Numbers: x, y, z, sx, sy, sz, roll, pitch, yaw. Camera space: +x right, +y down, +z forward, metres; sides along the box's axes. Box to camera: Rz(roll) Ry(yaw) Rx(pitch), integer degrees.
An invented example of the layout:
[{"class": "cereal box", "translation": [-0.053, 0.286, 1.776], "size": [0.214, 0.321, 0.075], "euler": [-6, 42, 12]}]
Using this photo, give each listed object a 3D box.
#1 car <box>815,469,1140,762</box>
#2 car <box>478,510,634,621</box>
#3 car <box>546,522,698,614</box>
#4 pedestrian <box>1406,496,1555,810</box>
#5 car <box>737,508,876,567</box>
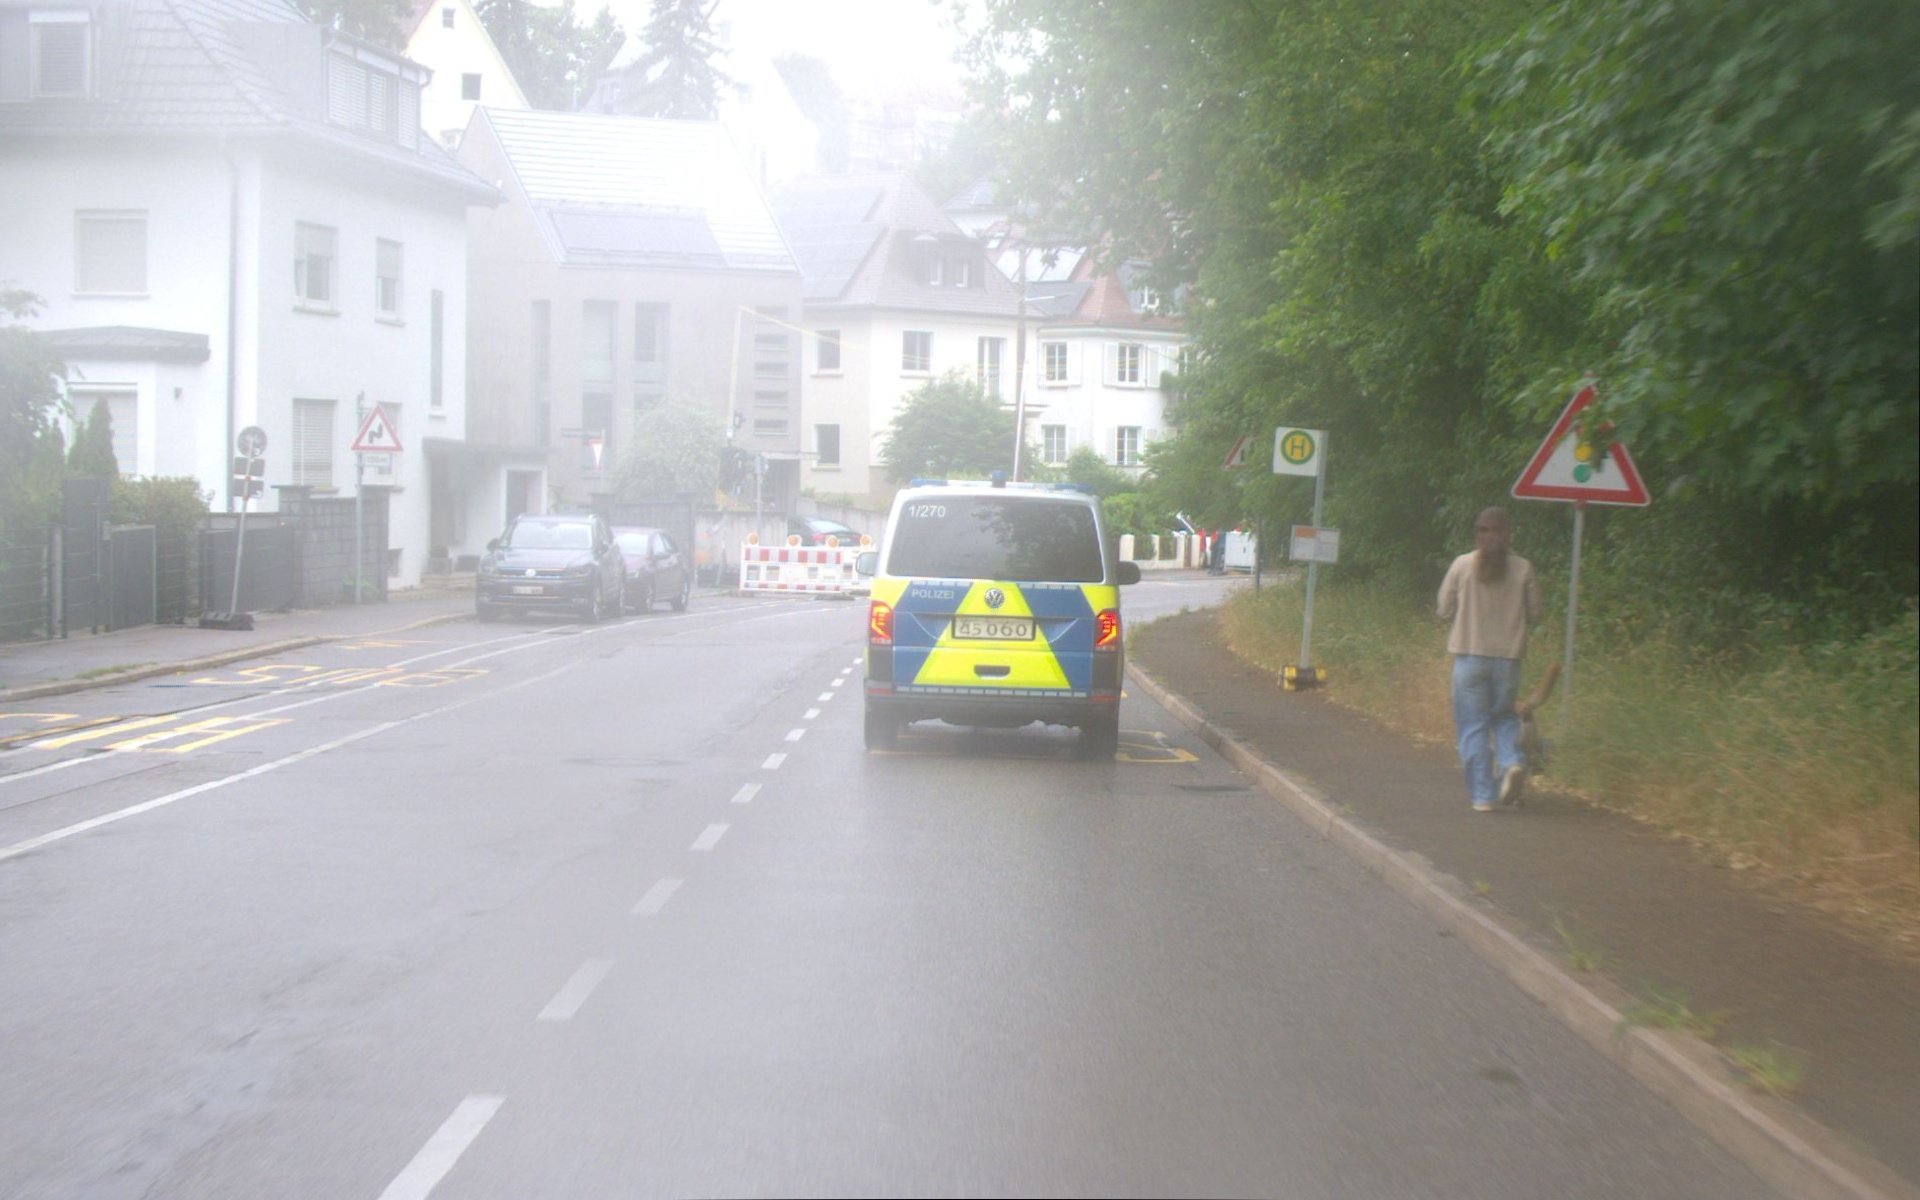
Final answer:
[{"class": "car", "translation": [0.033, 0.031, 26.081], "size": [1.993, 2.006, 4.403], "euler": [0, 2, -6]}, {"class": "car", "translation": [-6.246, -0.571, 53.618], "size": [1.754, 1.653, 4.405], "euler": [0, 2, 2]}, {"class": "car", "translation": [-5.752, -0.580, 58.948], "size": [1.617, 1.435, 4.229], "euler": [2, 2, 8]}, {"class": "pedestrian", "translation": [2.724, 0.273, 18.039], "size": [0.642, 1.605, 0.670], "euler": [1, 0, -1]}, {"class": "car", "translation": [-4.254, -1.744, 94.819], "size": [1.834, 1.438, 4.000], "euler": [1, 3, -37]}]
